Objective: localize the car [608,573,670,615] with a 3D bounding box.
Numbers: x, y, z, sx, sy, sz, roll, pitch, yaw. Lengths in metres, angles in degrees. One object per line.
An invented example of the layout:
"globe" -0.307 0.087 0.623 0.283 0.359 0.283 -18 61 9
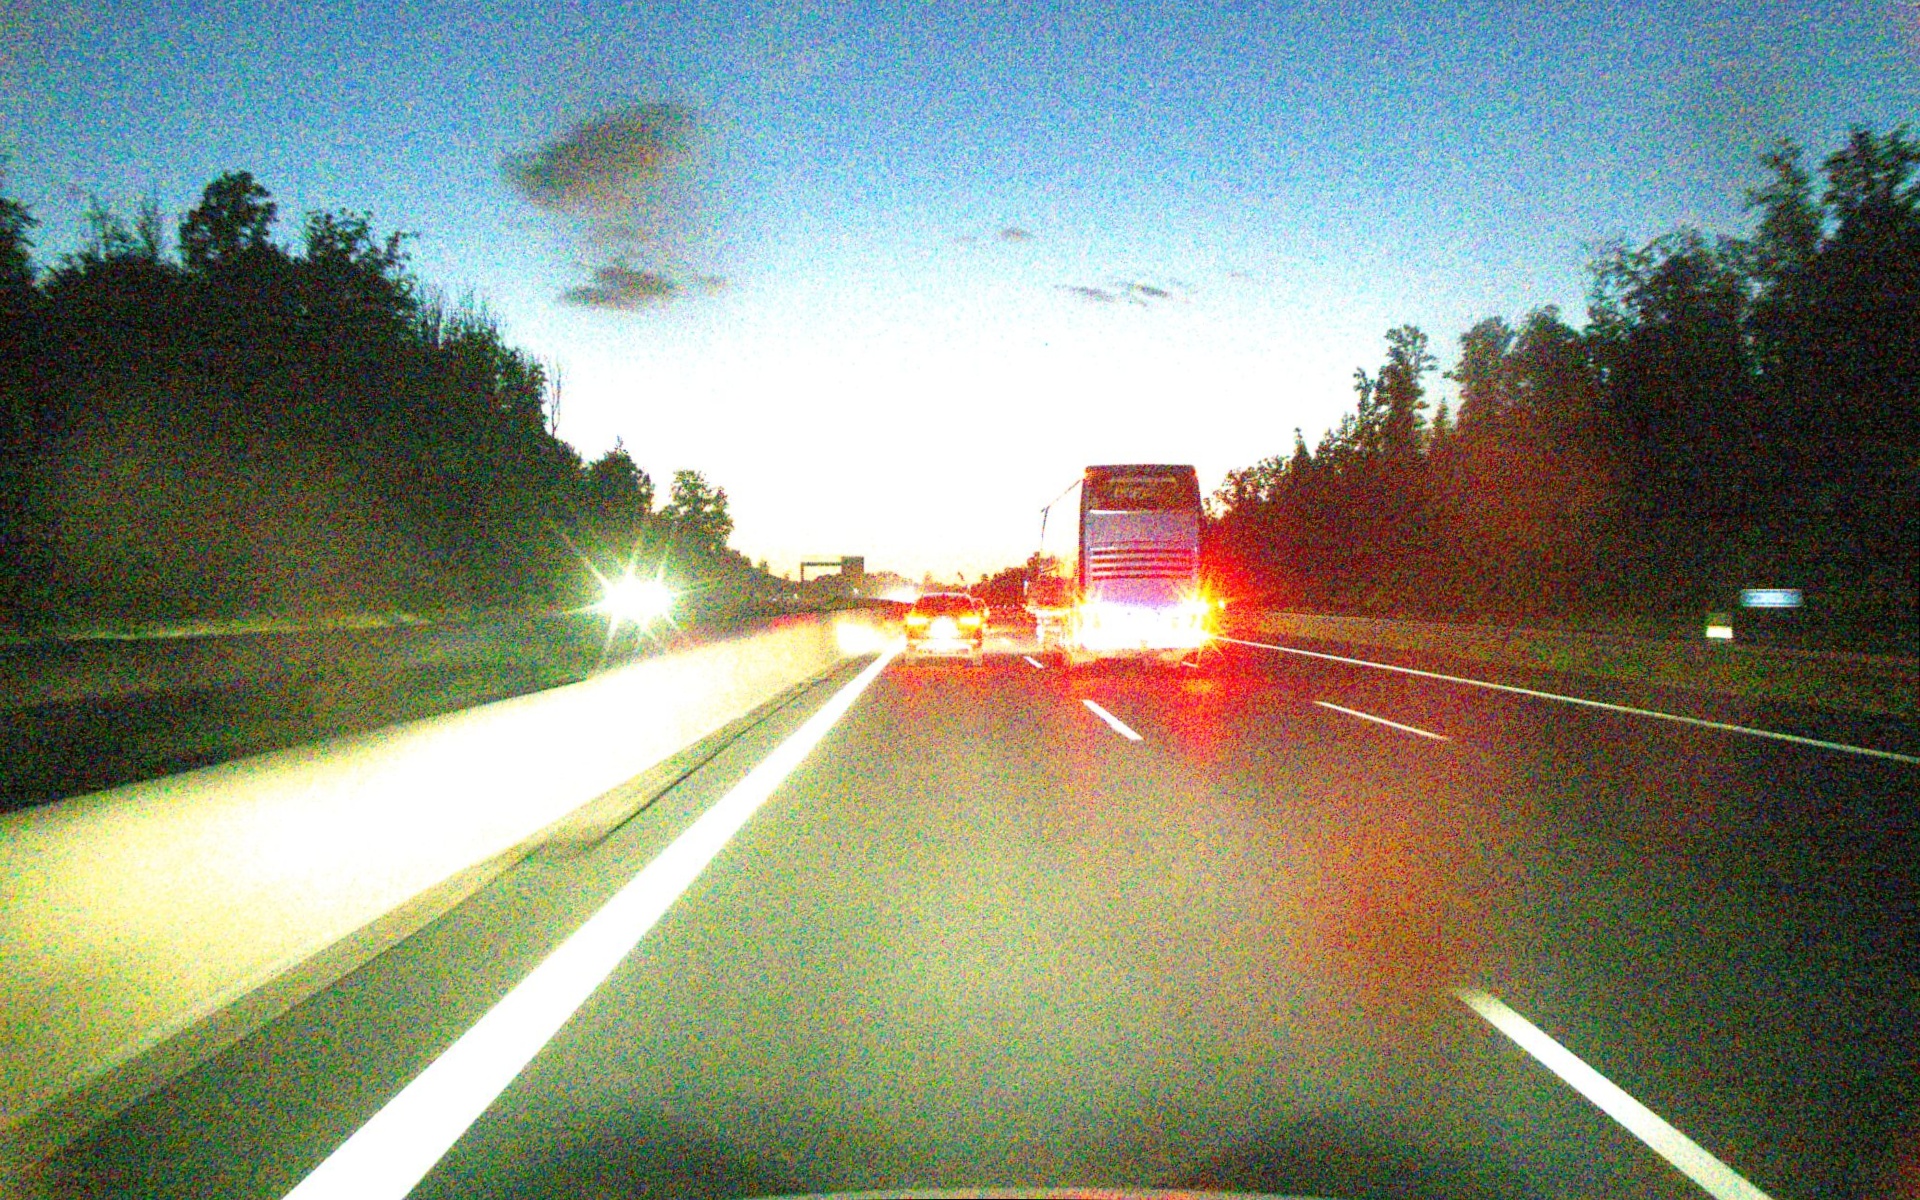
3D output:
"car" -14.826 -0.304 76.655 1.952 1.807 5.168 2 1 -2

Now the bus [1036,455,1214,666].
"bus" 3.519 -0.690 39.254 2.598 4.064 14.698 0 -1 -1

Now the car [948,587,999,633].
"car" 0.509 0.400 65.955 1.873 1.760 3.998 -1 -1 -2

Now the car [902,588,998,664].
"car" -0.275 0.595 37.984 2.063 1.646 4.202 0 -1 -2

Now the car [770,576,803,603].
"car" -12.613 -0.777 120.296 1.952 1.807 4.747 2 1 -2

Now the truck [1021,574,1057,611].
"truck" 6.593 -0.583 139.002 2.550 2.925 7.483 1 0 -1

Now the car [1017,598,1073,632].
"car" 3.372 0.597 66.188 1.873 1.297 3.998 -1 -1 -2
